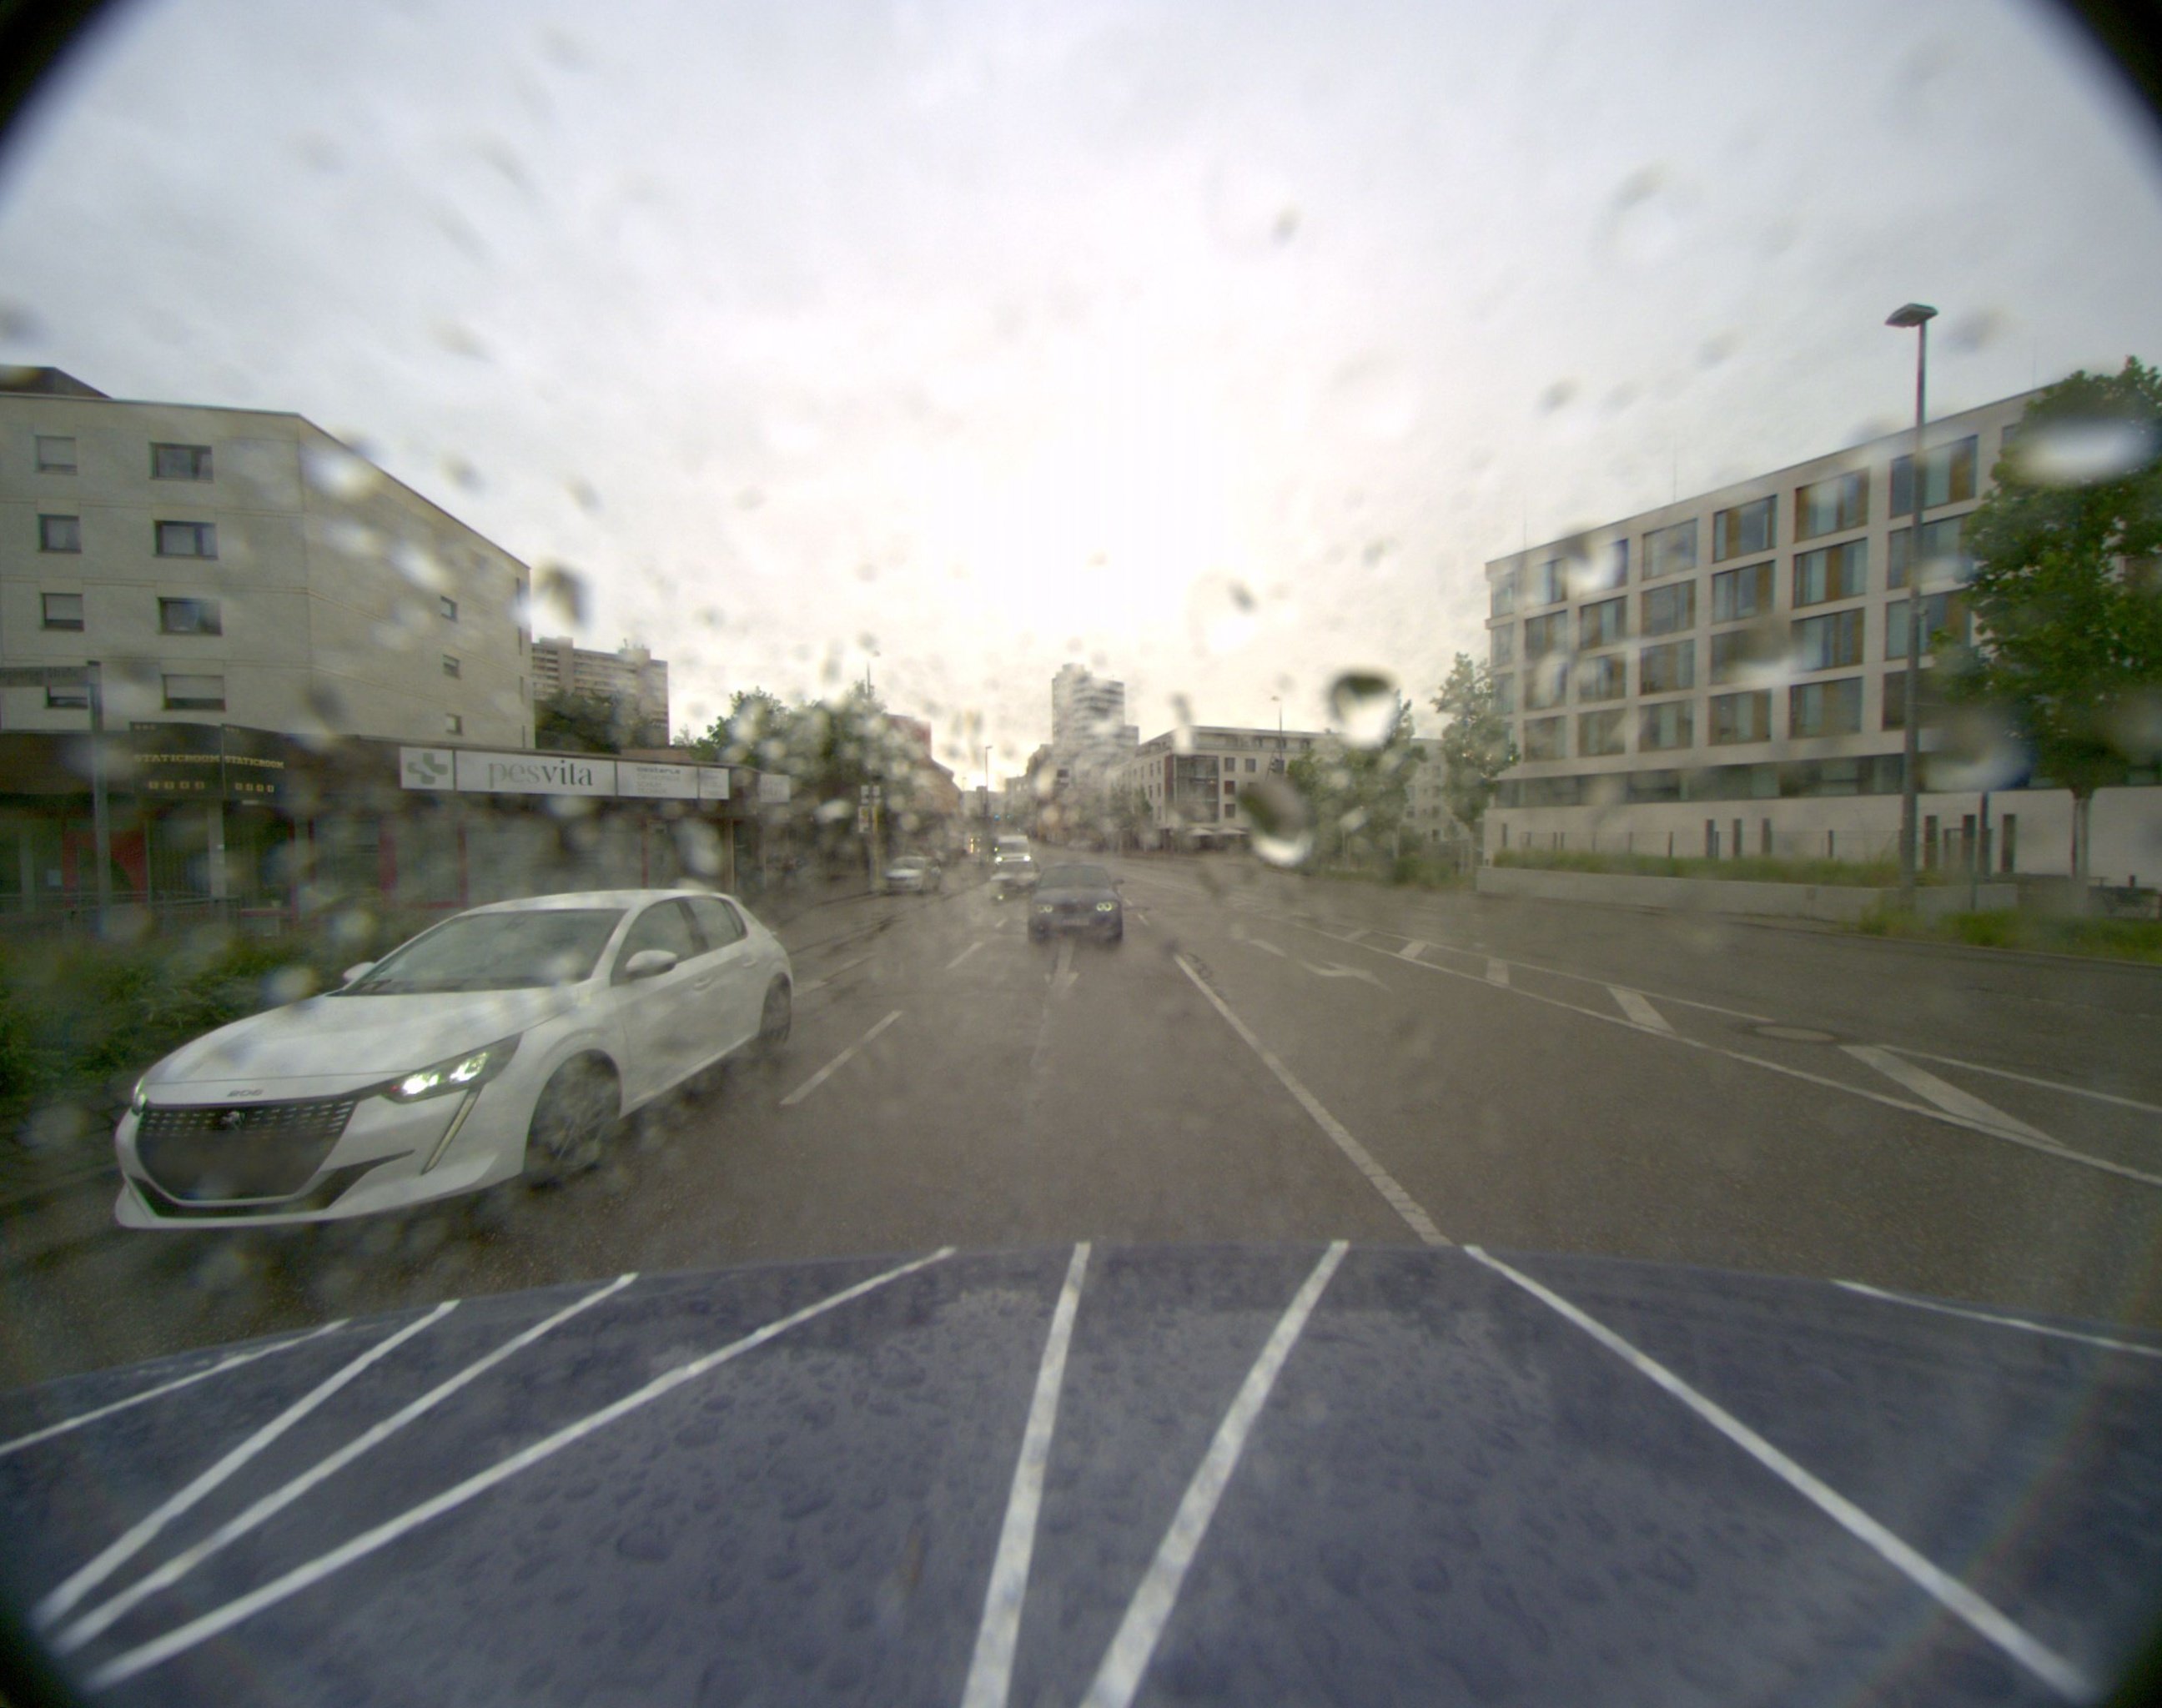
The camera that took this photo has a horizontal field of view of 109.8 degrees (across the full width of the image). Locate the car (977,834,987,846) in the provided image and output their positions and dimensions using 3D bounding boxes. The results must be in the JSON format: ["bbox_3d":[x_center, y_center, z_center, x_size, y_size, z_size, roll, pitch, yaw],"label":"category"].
[{"bbox_3d":[-16.693,-2.319,127.960,1.722,1.988,3.833,-2,1,-8],"label":"car"}]

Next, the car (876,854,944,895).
[{"bbox_3d":[-6.945,0.804,31.314,1.788,1.481,4.000,-2,1,1],"label":"car"}]

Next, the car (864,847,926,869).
[{"bbox_3d":[-12.857,0.243,52.778,4.000,1.419,1.882,-1,1,-10],"label":"car"}]

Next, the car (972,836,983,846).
[{"bbox_3d":[-21.827,-2.834,160.410,2.000,2.002,3.997,-2,1,-6],"label":"car"}]

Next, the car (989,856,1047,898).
[{"bbox_3d":[-2.376,0.845,29.561,1.788,1.338,4.161,-2,1,1],"label":"car"}]

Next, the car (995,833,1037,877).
[{"bbox_3d":[-3.946,-0.025,47.190,2.197,2.503,6.120,-1,1,-2],"label":"car"}]

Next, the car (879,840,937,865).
[{"bbox_3d":[-12.615,-0.134,55.536,4.000,1.769,1.882,-1,1,-10],"label":"car"}]

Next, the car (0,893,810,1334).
[{"bbox_3d":[-3.379,1.106,4.966,1.666,1.407,4.115,-2,1,1],"label":"car"}]

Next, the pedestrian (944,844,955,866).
[{"bbox_3d":[-10.379,0.078,60.028,0.750,1.772,0.752,-2,1,-3],"label":"pedestrian"}]

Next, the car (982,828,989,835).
[{"bbox_3d":[-26.849,-6.271,212.510,1.666,1.625,3.801,-2,1,-11],"label":"car"}]

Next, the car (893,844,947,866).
[{"bbox_3d":[-12.413,0.103,58.727,4.000,1.584,1.883,-1,-1,-10],"label":"car"}]

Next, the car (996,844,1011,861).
[{"bbox_3d":[-9.323,-0.204,91.556,1.721,1.988,3.834,-2,1,-4],"label":"car"}]

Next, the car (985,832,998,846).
[{"bbox_3d":[-12.759,-2.106,108.712,1.722,1.988,3.833,-2,1,-8],"label":"car"}]

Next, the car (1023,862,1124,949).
[{"bbox_3d":[-0.171,0.903,15.068,1.693,1.380,3.999,-2,1,-1],"label":"car"}]
